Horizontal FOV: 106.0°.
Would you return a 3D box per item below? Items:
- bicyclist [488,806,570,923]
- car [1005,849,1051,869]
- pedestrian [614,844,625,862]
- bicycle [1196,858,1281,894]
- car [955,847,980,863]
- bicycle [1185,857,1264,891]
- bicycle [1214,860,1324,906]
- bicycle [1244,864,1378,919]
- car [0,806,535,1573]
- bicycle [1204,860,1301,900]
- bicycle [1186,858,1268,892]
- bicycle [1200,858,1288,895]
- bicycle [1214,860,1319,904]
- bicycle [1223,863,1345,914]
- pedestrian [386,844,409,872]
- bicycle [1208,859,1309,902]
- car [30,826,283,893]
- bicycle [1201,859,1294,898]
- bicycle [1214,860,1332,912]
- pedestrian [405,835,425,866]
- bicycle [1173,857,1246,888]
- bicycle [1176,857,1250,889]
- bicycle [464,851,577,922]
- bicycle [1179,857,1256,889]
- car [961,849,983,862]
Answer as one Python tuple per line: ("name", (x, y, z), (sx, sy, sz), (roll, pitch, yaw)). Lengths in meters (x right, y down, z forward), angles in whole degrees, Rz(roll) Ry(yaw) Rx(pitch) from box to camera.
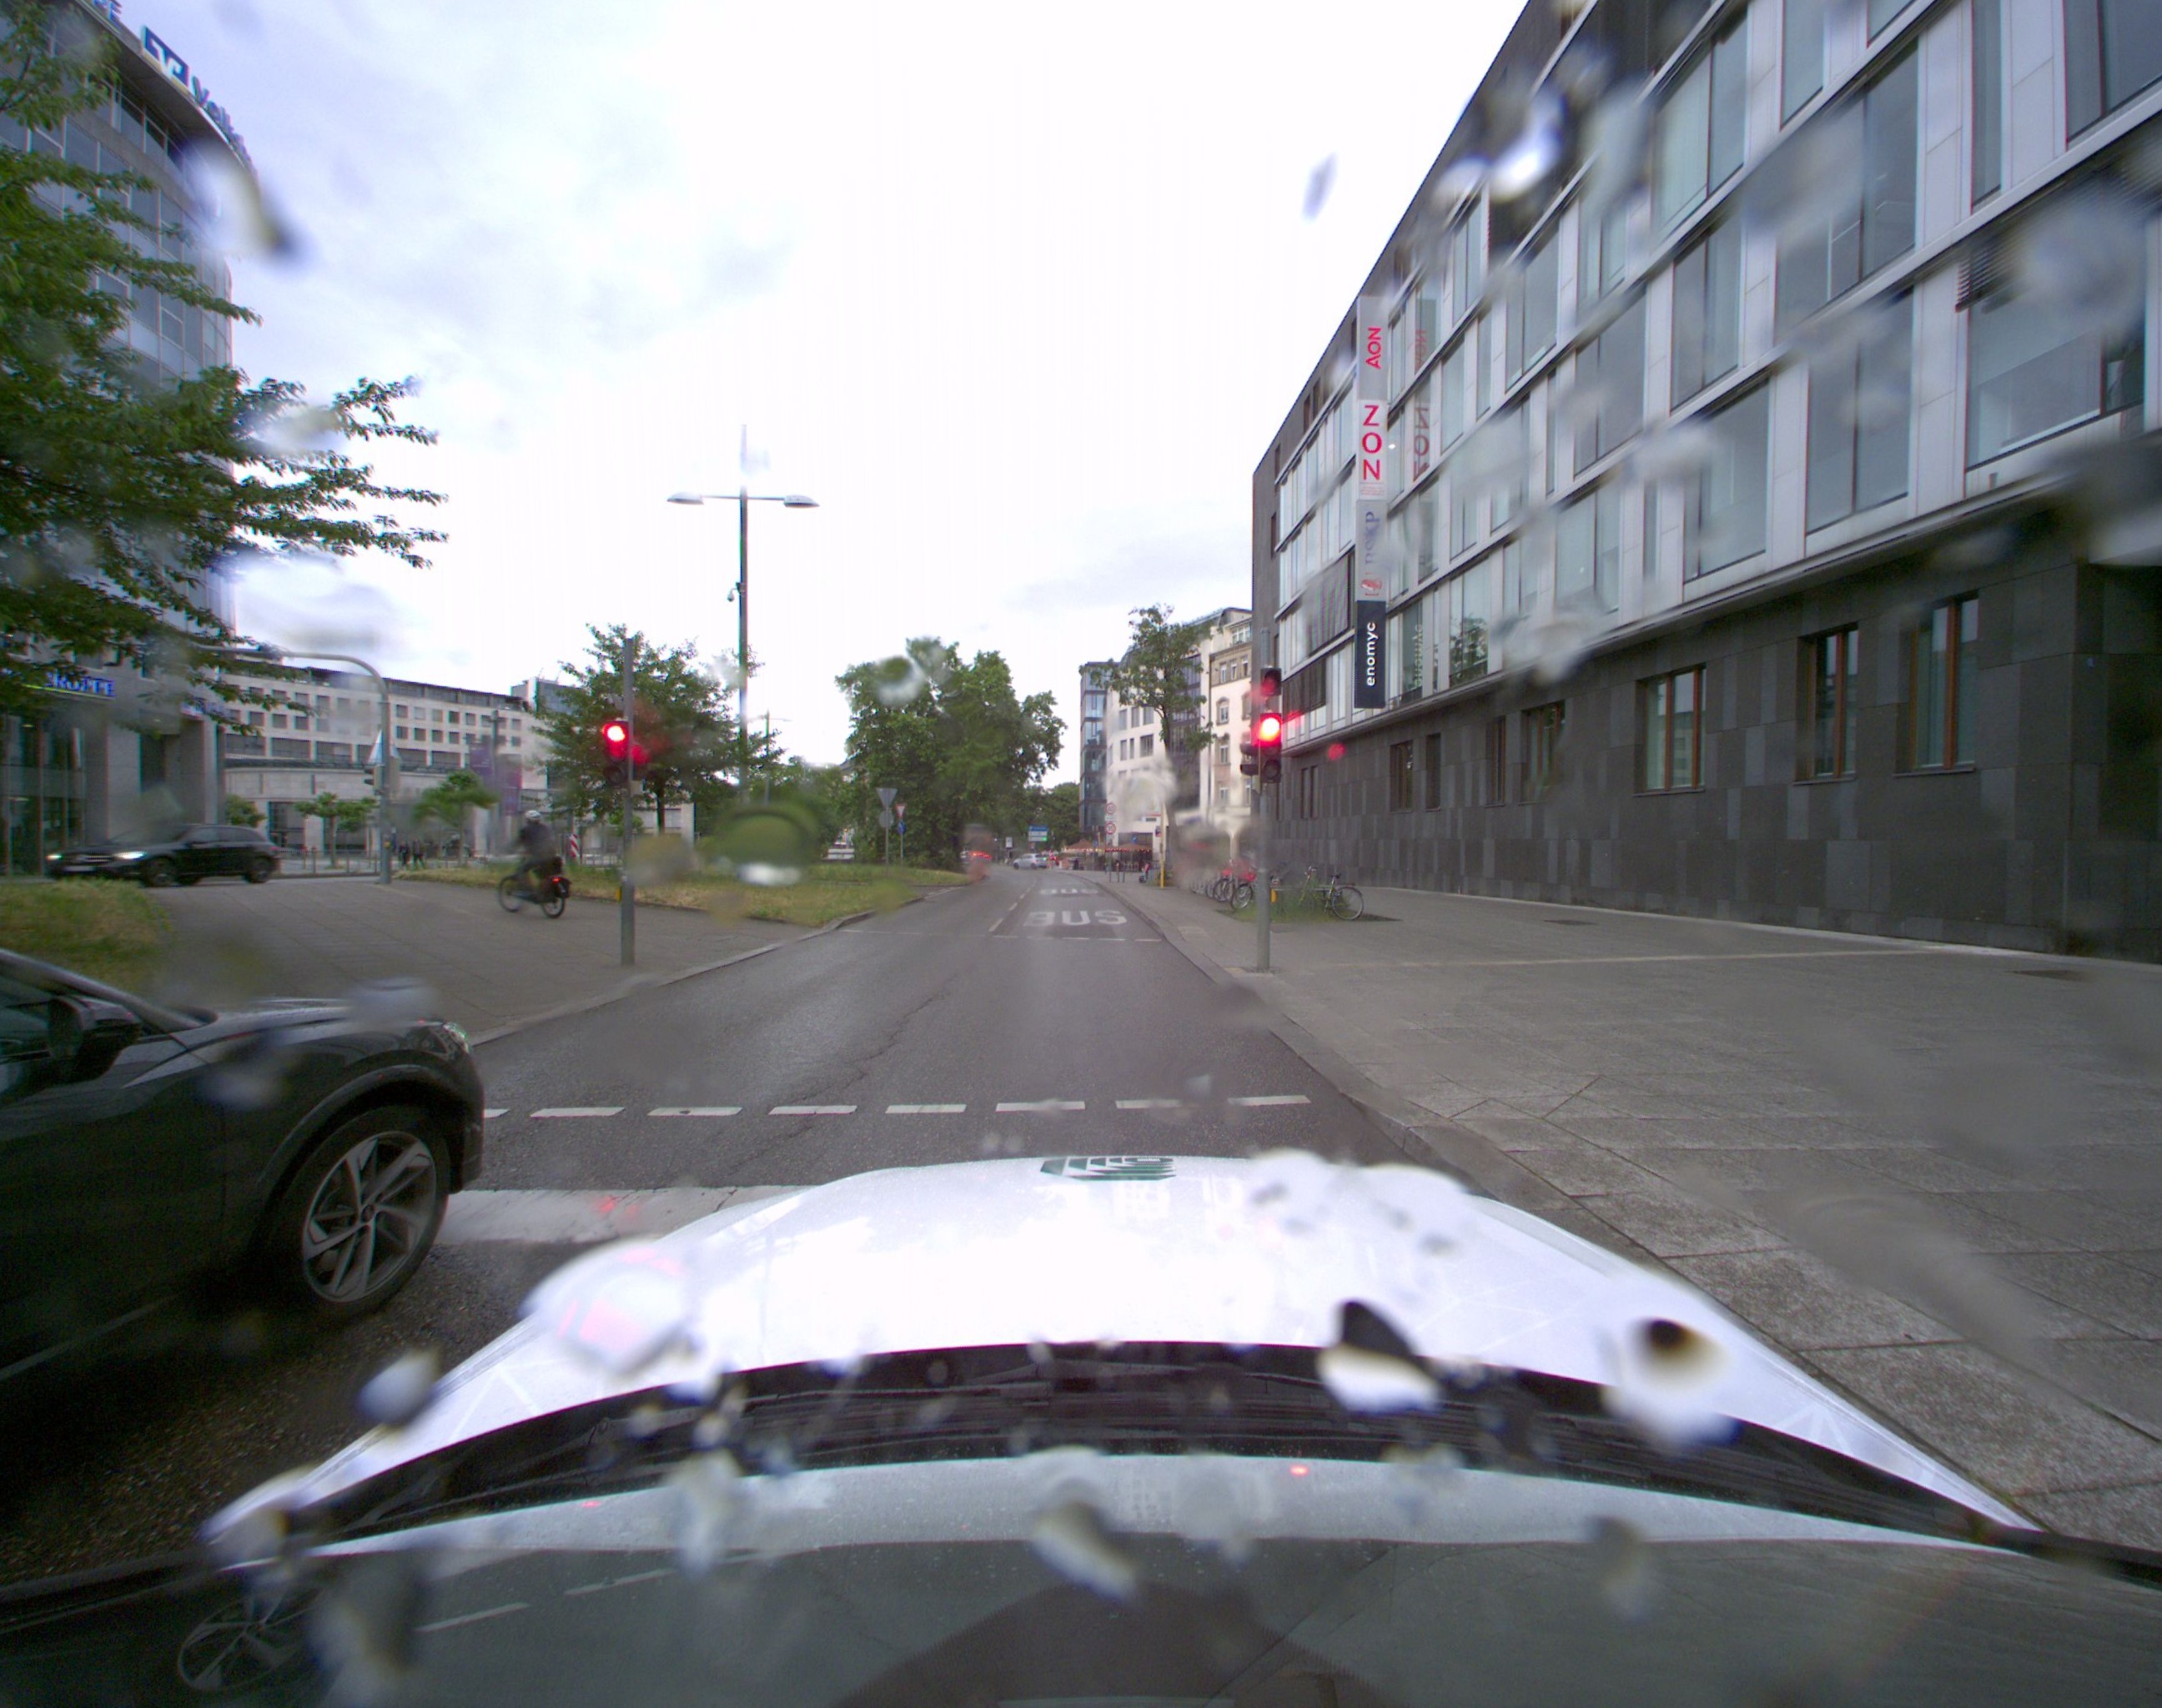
("bicyclist", (-10.284, 0.174, 15.169), (1.072, 2.082, 0.767), (3, 1, 26))
("car", (-5.183, 0.483, 79.085), (3.949, 1.647, 2.012), (4, 0, 36))
("pedestrian", (-50.837, -0.111, 89.693), (0.788, 2.014, 0.738), (2, 0, -7))
("bicycle", (4.933, 0.672, 25.588), (2.530, 1.087, 0.677), (-1, 0, -3))
("car", (-12.948, 0.088, 92.813), (2.167, 1.706, 4.529), (0, 0, -16))
("bicycle", (4.779, 0.656, 27.185), (2.530, 1.087, 0.677), (-1, 0, -3))
("bicycle", (4.596, 0.705, 19.976), (2.530, 1.087, 0.677), (-1, 0, -3))
("bicycle", (4.629, 0.748, 16.467), (2.530, 1.057, 0.677), (0, 0, -3))
("car", (-3.171, 0.699, 1.302), (1.843, 1.616, 4.248), (1, 1, -3))
("bicycle", (4.725, 0.703, 22.507), (2.530, 1.060, 0.677), (-1, 0, -3))
("bicycle", (4.720, 0.672, 26.433), (2.530, 1.087, 0.677), (-1, 0, -3))
("bicycle", (4.913, 0.673, 24.610), (2.530, 1.087, 0.677), (-1, 0, -3))
("bicycle", (4.722, 0.705, 20.829), (2.530, 1.087, 0.677), (-1, 0, -3))
("bicycle", (4.449, 0.751, 17.949), (2.530, 1.087, 0.677), (0, 0, -3))
("pedestrian", (-39.058, 0.221, 46.562), (0.729, 1.516, 0.688), (-2, 0, -14))
("bicycle", (4.691, 0.701, 21.641), (2.530, 1.087, 0.677), (-1, 0, -3))
("car", (-23.314, 0.133, 20.854), (1.803, 1.486, 4.372), (2, 0, -8))
("bicycle", (4.783, 0.688, 23.415), (2.530, 1.087, 0.677), (-1, 0, -3))
("bicycle", (4.398, 0.723, 18.755), (2.530, 1.087, 0.677), (2, 0, -3))
("pedestrian", (-38.403, -0.210, 46.956), (0.621, 1.763, 0.721), (-2, 0, -18))
("bicycle", (4.648, 0.668, 29.548), (2.530, 1.087, 0.627), (-1, 0, -3))
("bicycle", (4.661, 0.659, 28.825), (2.530, 1.087, 0.677), (-1, 0, -3))
("bicycle", (-10.518, 0.575, 15.280), (2.107, 1.145, 0.767), (3, 1, 26))
("bicycle", (4.684, 0.646, 28.077), (2.530, 1.087, 0.677), (-1, 0, -3))
("car", (-14.183, 0.202, 105.857), (2.184, 1.700, 3.978), (0, 0, -16))
